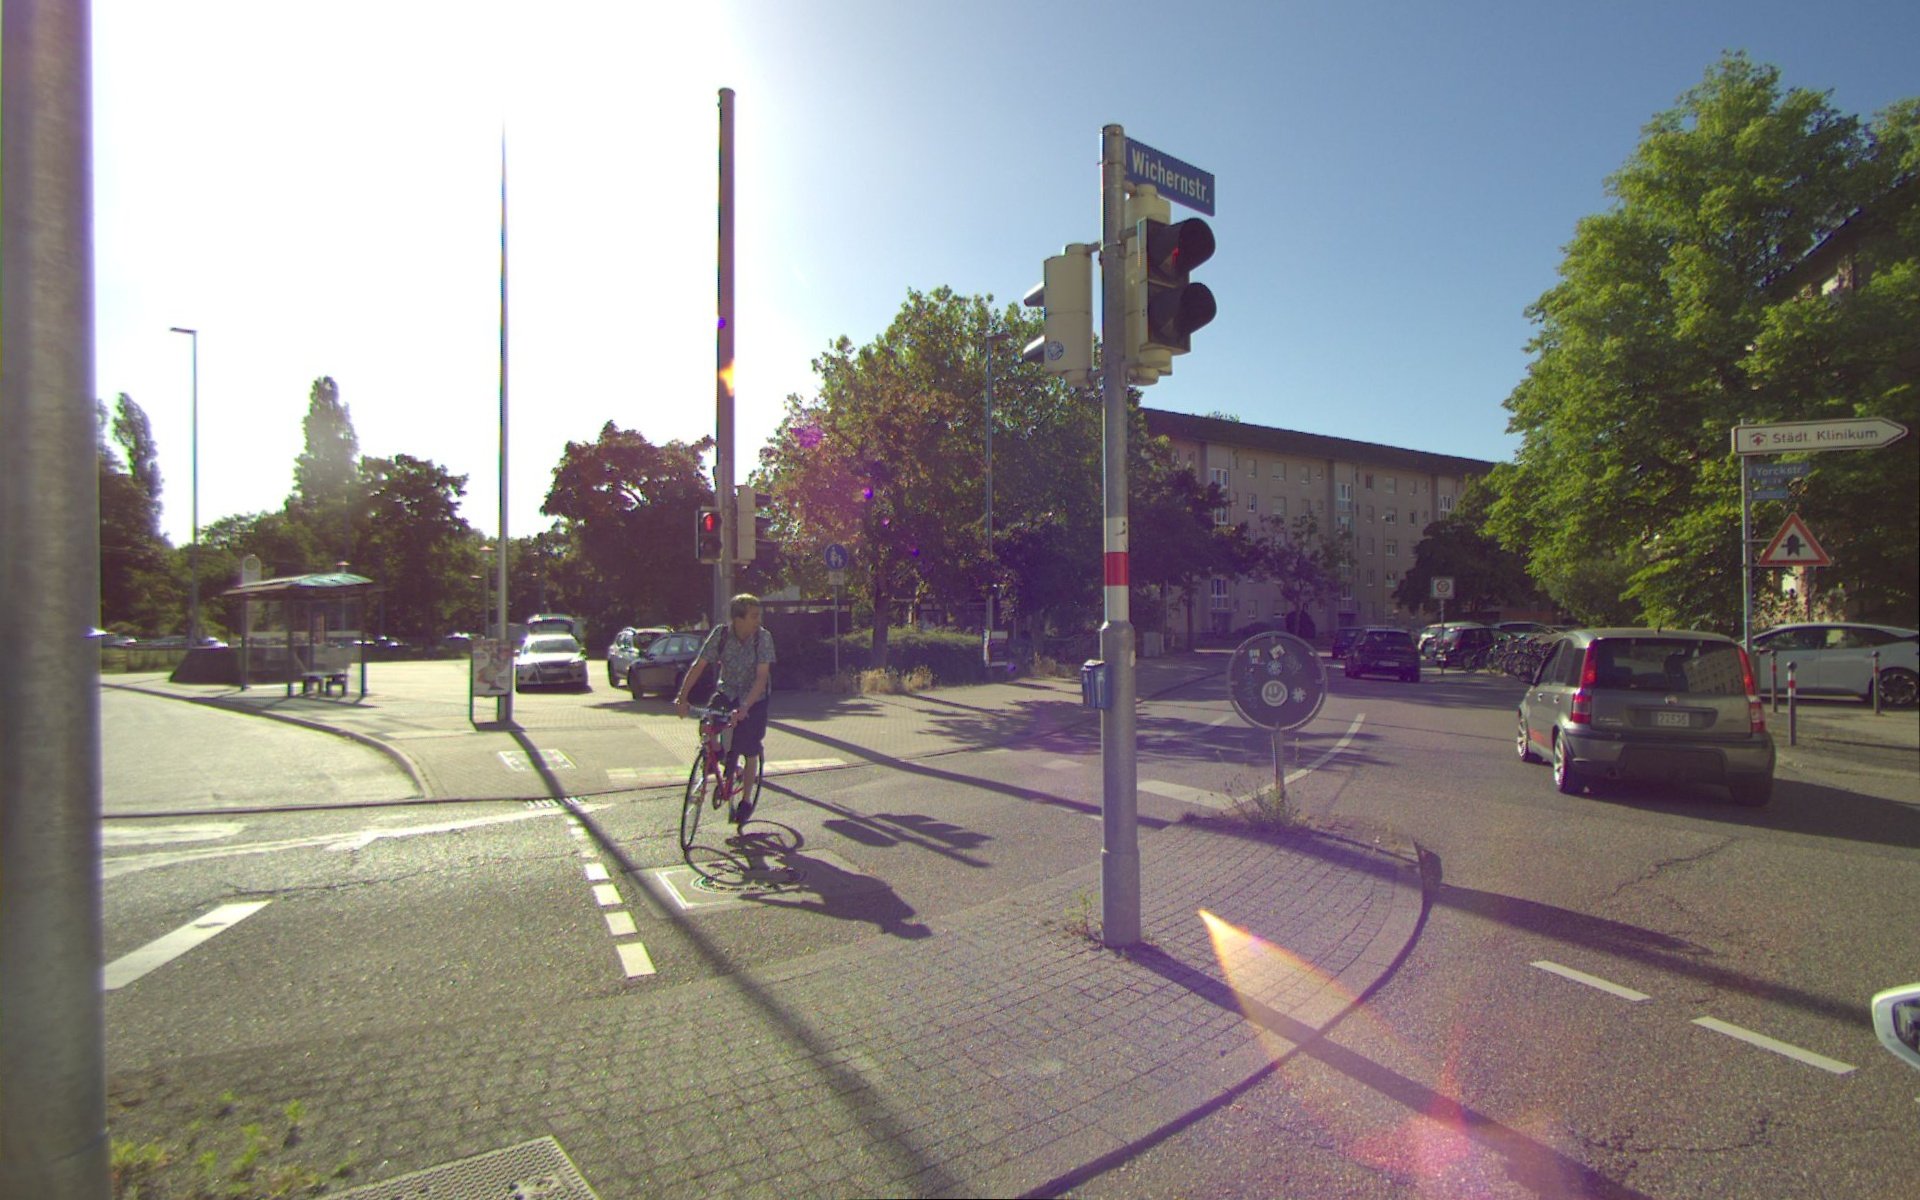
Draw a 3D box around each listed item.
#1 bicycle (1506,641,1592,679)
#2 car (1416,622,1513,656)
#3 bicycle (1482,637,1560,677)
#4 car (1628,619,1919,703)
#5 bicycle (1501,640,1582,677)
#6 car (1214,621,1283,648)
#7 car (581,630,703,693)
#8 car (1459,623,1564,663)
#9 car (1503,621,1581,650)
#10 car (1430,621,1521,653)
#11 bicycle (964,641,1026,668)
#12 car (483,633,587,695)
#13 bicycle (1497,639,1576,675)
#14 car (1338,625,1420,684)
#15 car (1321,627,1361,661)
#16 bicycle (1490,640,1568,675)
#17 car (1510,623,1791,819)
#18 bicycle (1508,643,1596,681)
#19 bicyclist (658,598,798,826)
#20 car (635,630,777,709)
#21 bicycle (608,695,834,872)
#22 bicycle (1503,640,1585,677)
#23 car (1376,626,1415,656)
[{"bbox_3d":[16.675,1.703,28.490,1.993,1.044,0.571,-1,-2,14],"label":"bicycle"},{"bbox_3d":[22.721,1.743,45.300,3.523,1.500,1.621,0,-2,-2],"label":"car"},{"bbox_3d":[17.478,1.773,31.327,1.993,1.192,0.668,-1,-2,14],"label":"bicycle"},{"bbox_3d":[16.536,1.181,20.251,4.946,1.538,1.920,-1,-2,29],"label":"car"},{"bbox_3d":[17.056,1.712,29.484,1.993,1.044,0.448,-1,-2,14],"label":"bicycle"},{"bbox_3d":[20.215,2.407,70.524,2.045,1.821,4.389,1,-2,-31],"label":"car"},{"bbox_3d":[-8.845,1.644,27.771,1.786,1.600,3.952,1,-2,-41],"label":"car"},{"bbox_3d":[21.533,1.653,39.286,3.194,1.500,1.621,0,-2,-2],"label":"car"},{"bbox_3d":[30.851,1.909,53.360,3.528,1.500,1.619,-1,-2,29],"label":"car"},{"bbox_3d":[24.620,1.765,48.009,3.523,1.500,1.621,0,-2,-2],"label":"car"},{"bbox_3d":[1.308,2.055,37.717,2.267,0.995,0.557,-1,-2,18],"label":"bicycle"},{"bbox_3d":[-11.528,1.667,27.142,1.670,1.528,3.556,1,-2,-39],"label":"car"},{"bbox_3d":[17.235,1.719,30.062,1.993,1.044,0.448,-1,-2,14],"label":"bicycle"},{"bbox_3d":[11.656,1.462,28.114,1.650,1.528,3.760,-1,-2,16],"label":"car"},{"bbox_3d":[17.704,2.005,46.627,1.651,1.528,3.595,-1,-2,22],"label":"car"},{"bbox_3d":[17.343,1.761,30.650,1.993,1.044,0.448,-1,-2,14],"label":"bicycle"},{"bbox_3d":[6.583,1.035,9.949,1.590,1.582,3.256,-1,-2,22],"label":"car"},{"bbox_3d":[16.385,1.717,27.834,1.993,1.044,0.571,-1,-2,14],"label":"bicycle"},{"bbox_3d":[-1.689,0.791,7.372,0.811,1.584,0.596,-1,-2,15],"label":"bicyclist"},{"bbox_3d":[-5.662,1.454,22.119,1.669,1.528,3.556,-2,0,-39],"label":"car"},{"bbox_3d":[-1.676,1.267,7.445,0.813,0.999,1.947,-1,-2,15],"label":"bicycle"},{"bbox_3d":[16.856,1.698,29.025,1.993,1.044,0.469,-1,-2,14],"label":"bicycle"},{"bbox_3d":[23.497,2.172,54.123,1.653,1.528,3.591,-1,-2,28],"label":"car"}]
